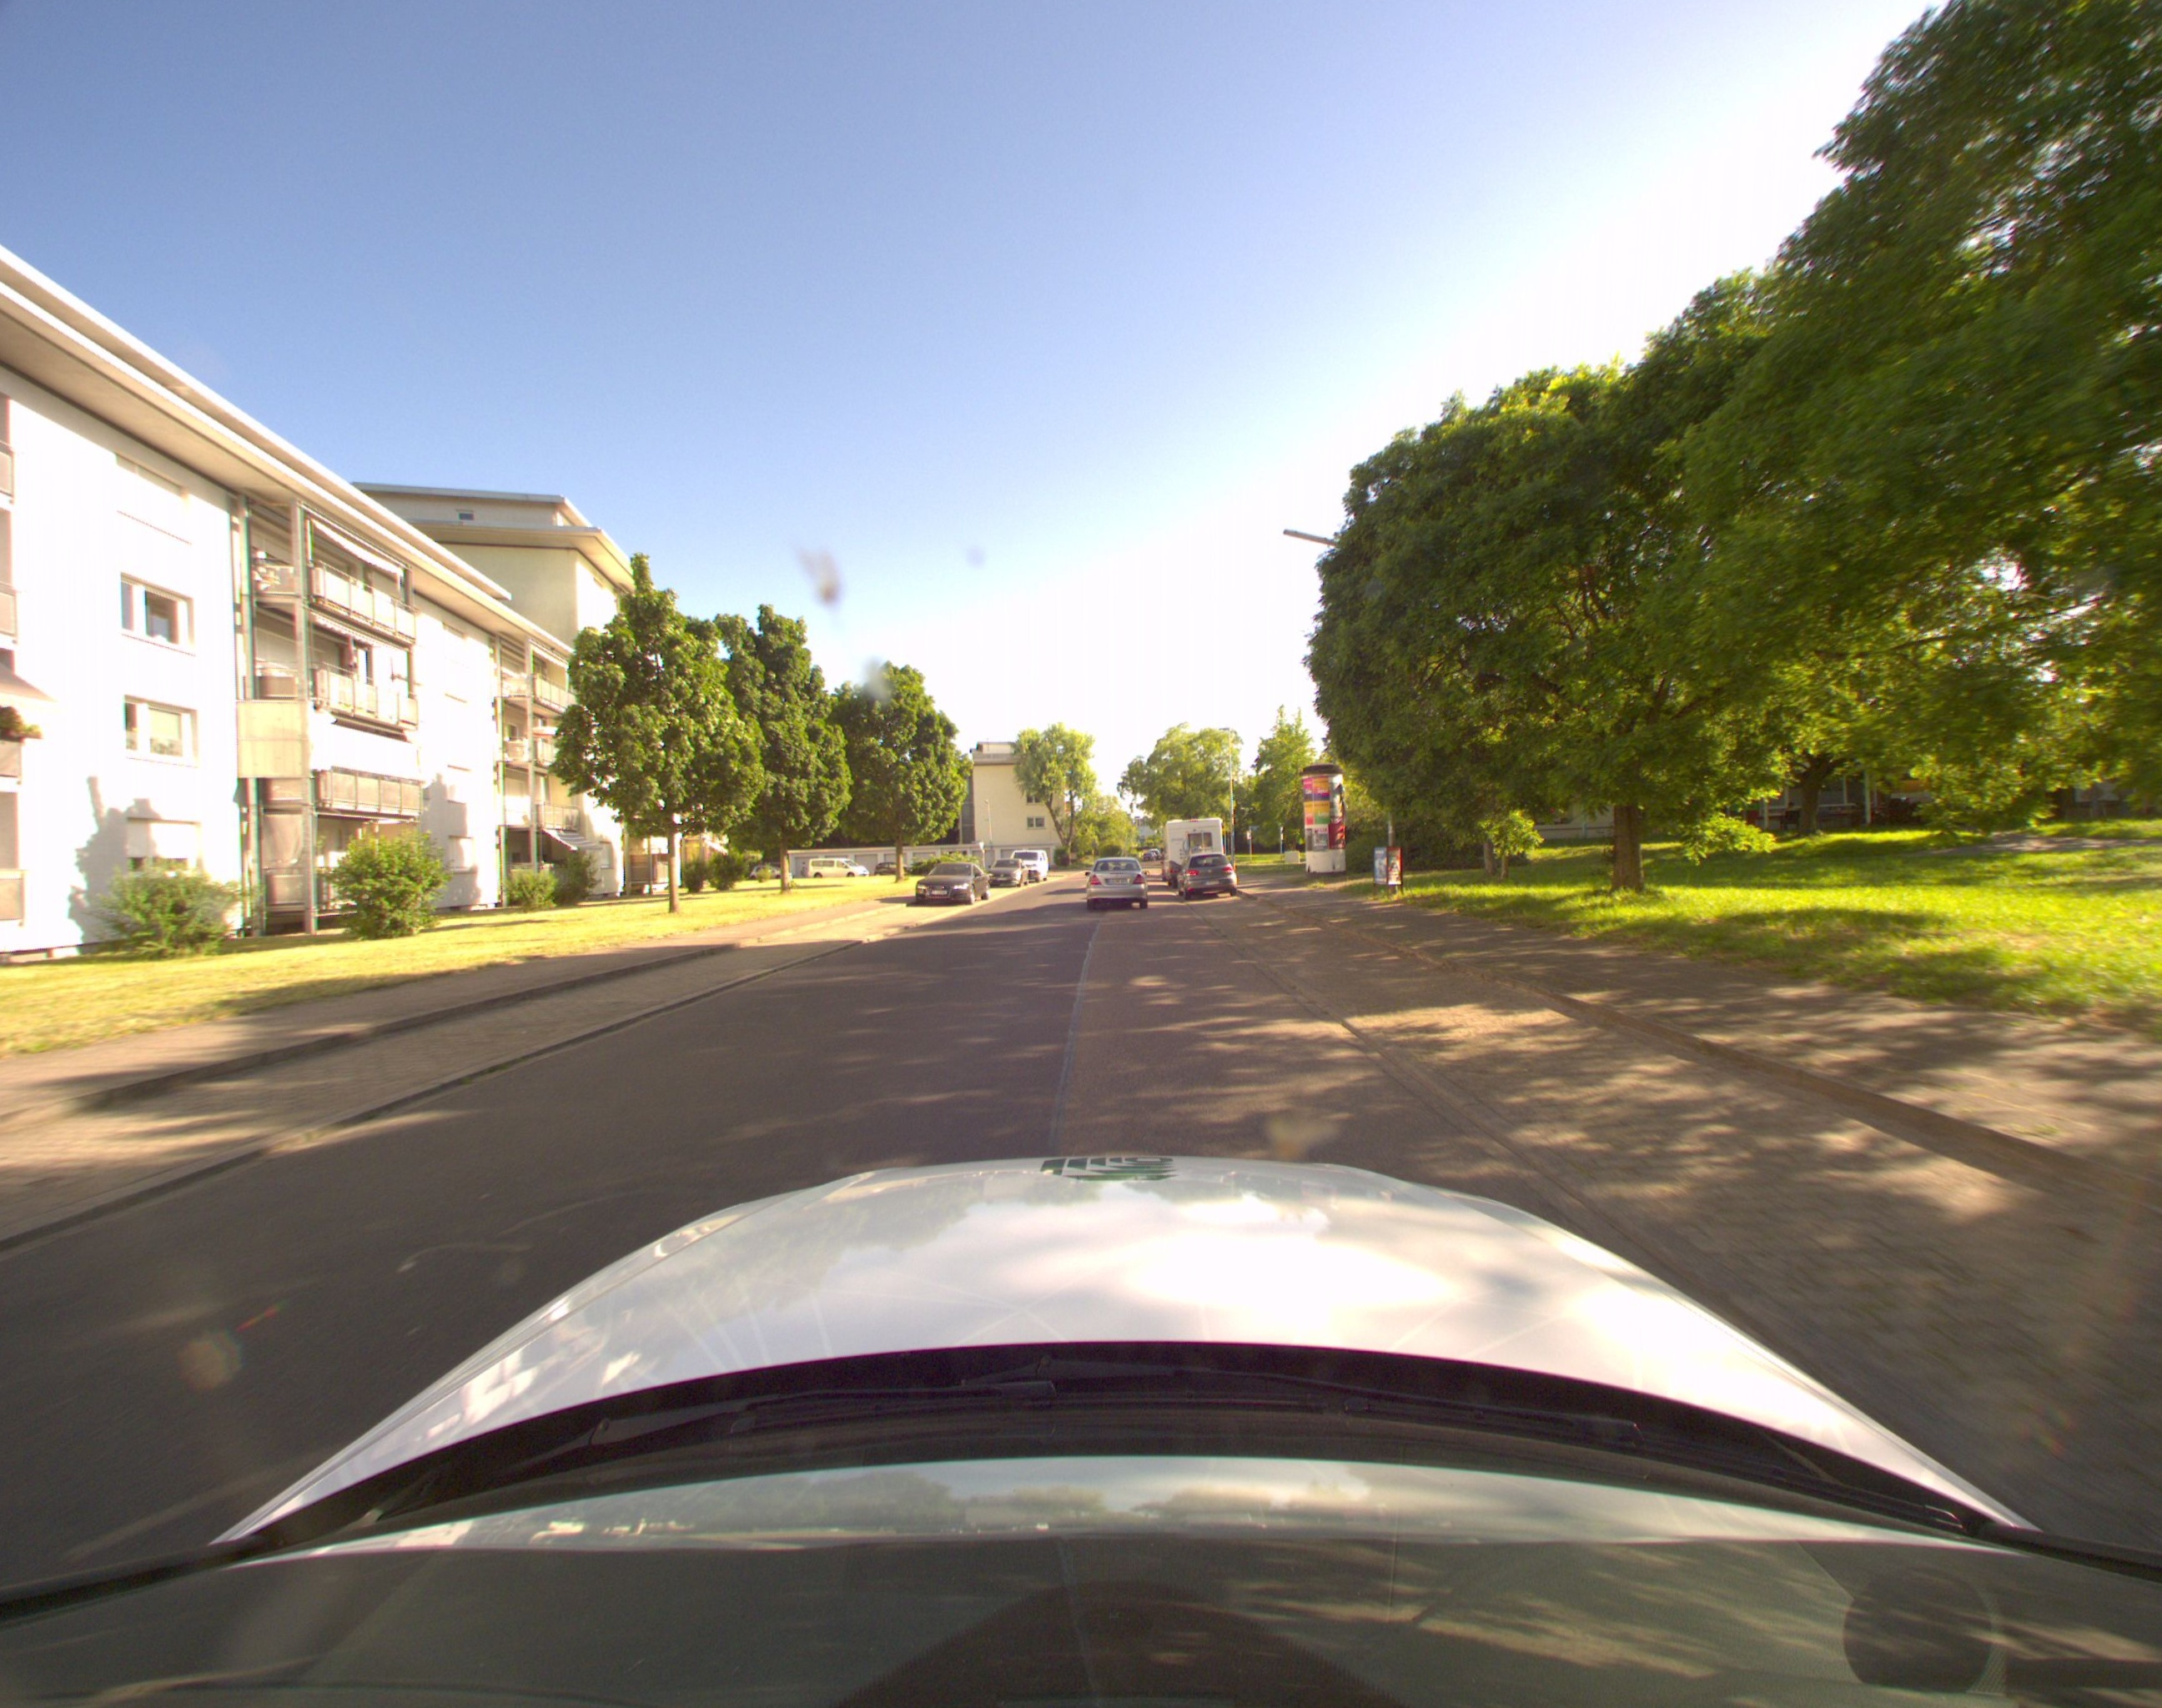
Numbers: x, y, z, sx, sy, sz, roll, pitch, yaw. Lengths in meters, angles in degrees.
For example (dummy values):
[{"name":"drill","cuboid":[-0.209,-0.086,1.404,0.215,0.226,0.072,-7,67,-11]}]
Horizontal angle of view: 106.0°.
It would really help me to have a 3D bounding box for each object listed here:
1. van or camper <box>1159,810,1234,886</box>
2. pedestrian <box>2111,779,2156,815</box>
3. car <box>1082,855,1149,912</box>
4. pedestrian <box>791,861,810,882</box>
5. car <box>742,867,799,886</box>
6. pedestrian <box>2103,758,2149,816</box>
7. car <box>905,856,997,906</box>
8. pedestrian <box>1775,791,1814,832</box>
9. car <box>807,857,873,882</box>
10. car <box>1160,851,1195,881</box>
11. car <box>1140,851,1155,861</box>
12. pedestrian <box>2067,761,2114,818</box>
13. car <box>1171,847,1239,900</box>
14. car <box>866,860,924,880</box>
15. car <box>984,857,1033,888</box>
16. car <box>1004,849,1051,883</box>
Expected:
[{"name":"van or camper","cuboid":[4.841,-0.265,35.239,2.486,2.845,6.857,-3,0,3]},{"name":"pedestrian","cuboid":[40.225,-2.165,31.138,0.830,1.272,0.772,-3,0,35]},{"name":"car","cuboid":[1.044,0.791,23.243,1.725,1.434,3.442,-3,-1,4]},{"name":"pedestrian","cuboid":[-28.004,1.704,81.346,1.471,2.013,1.094,-3,0,-6]},{"name":"car","cuboid":[-28.783,2.096,75.571,4.422,1.460,2.003,-3,0,4]},{"name":"pedestrian","cuboid":[37.786,-2.409,29.454,0.637,2.013,0.834,-3,0,-23]},{"name":"car","cuboid":[-4.459,0.877,28.869,2.026,1.492,5.261,-3,0,4]},{"name":"pedestrian","cuboid":[28.973,-1.700,33.103,0.847,1.576,1.096,-3,0,24]},{"name":"car","cuboid":[-21.216,1.350,71.798,5.072,1.951,2.244,-3,0,11]},{"name":"car","cuboid":[5.185,0.616,44.094,1.683,1.474,4.005,-3,0,4]},{"name":"car","cuboid":[10.931,0.362,133.088,1.900,1.490,3.849,-5,-1,12]},{"name":"pedestrian","cuboid":[37.481,-2.390,30.237,0.635,2.013,0.853,-3,0,-13]},{"name":"car","cuboid":[4.205,0.610,28.144,1.714,1.524,4.431,-5,0,2]},{"name":"car","cuboid":[-16.171,1.365,70.831,4.414,1.460,2.049,-3,0,10]},{"name":"car","cuboid":[-3.672,0.906,41.923,1.825,1.518,4.227,-1,0,5]},{"name":"car","cuboid":[-3.114,0.691,48.405,2.005,1.885,5.197,-1,0,5]}]
